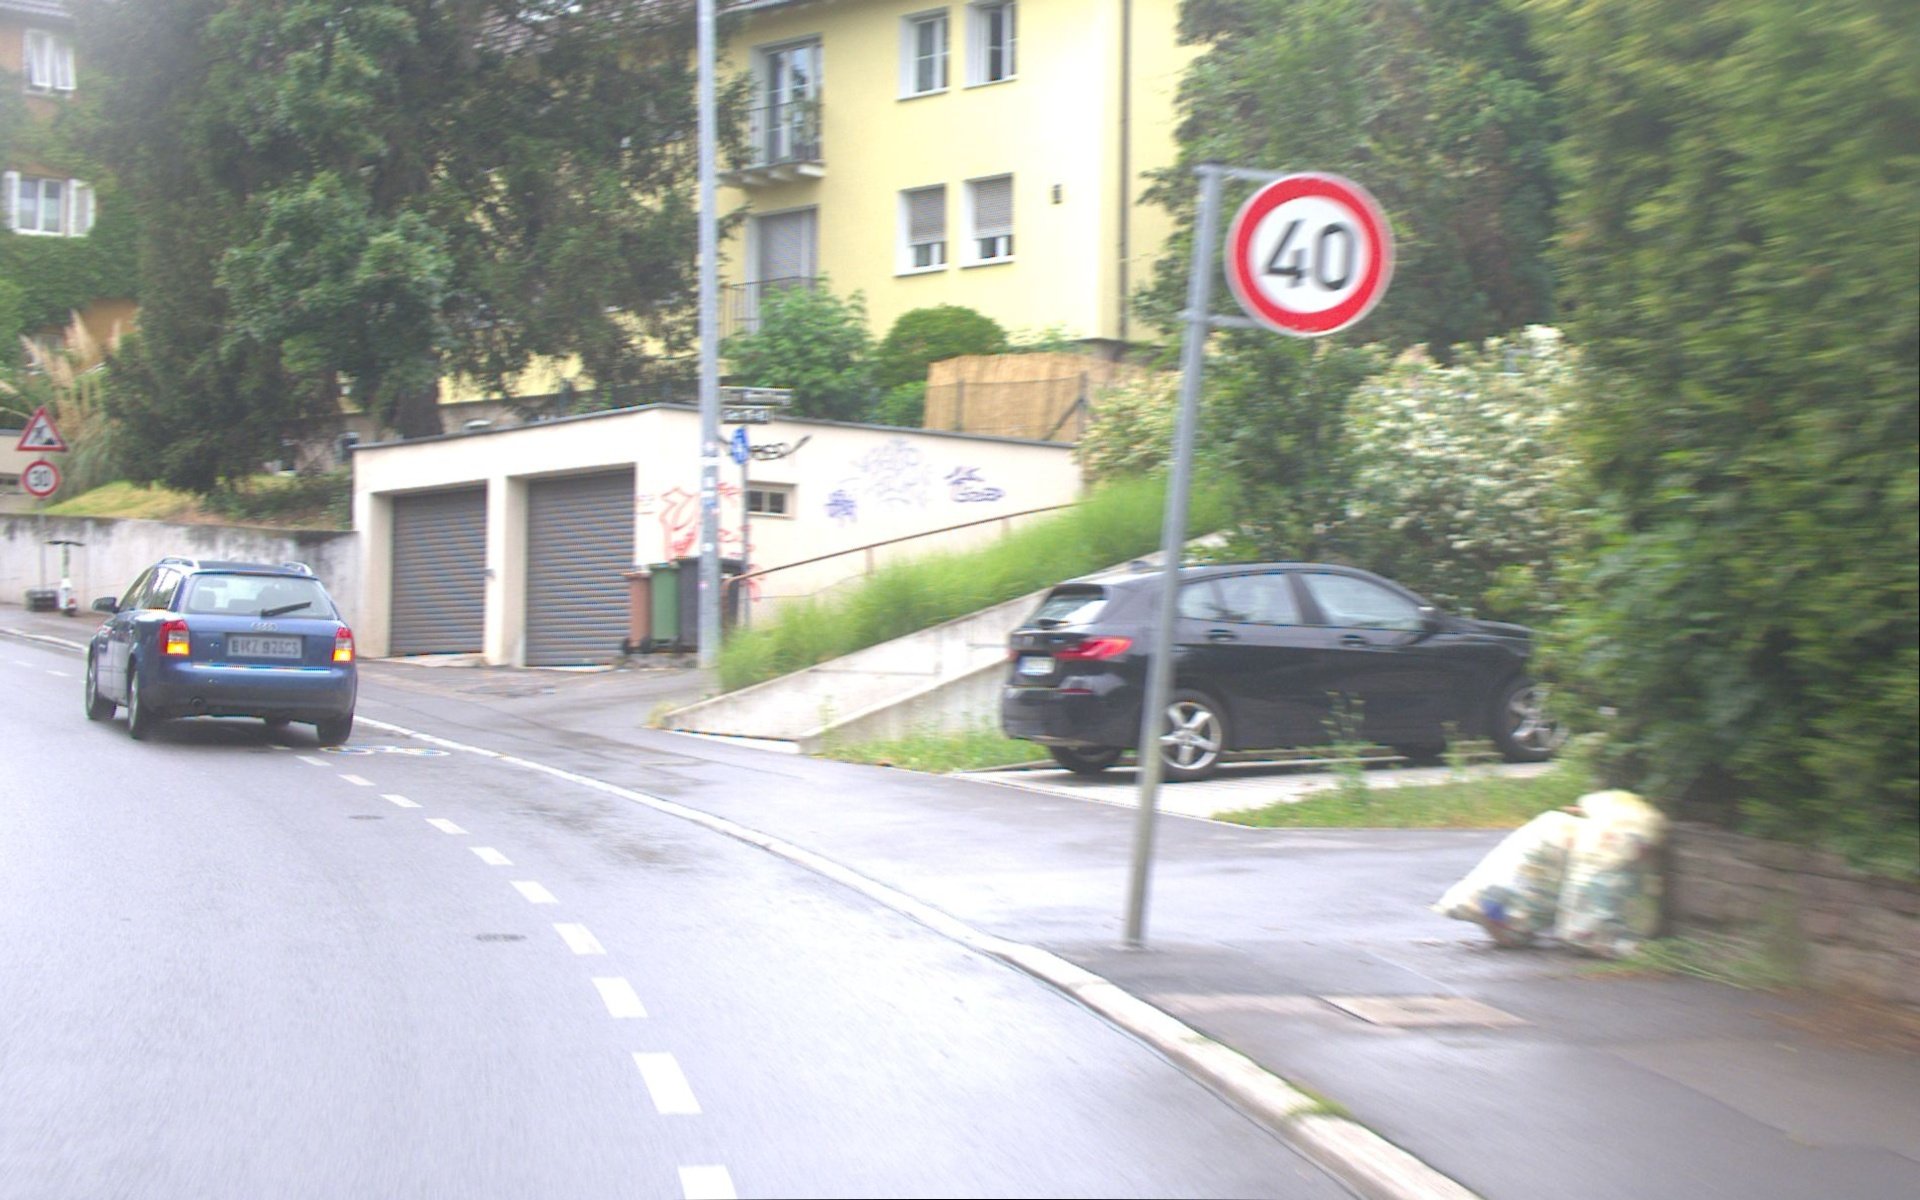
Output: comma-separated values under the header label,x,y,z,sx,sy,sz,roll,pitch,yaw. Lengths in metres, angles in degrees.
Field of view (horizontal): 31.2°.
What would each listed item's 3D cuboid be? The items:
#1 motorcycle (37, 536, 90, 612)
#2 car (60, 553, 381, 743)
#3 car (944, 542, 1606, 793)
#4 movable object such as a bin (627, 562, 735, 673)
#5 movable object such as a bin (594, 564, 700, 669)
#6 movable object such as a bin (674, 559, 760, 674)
label,x,y,z,sx,sy,sz,roll,pitch,yaw
motorcycle,-13.772,-0.409,52.789,0.548,1.128,1.440,1,1,-24
car,-6.205,0.336,28.485,1.853,1.409,4.363,0,1,-22
car,2.161,0.407,23.677,4.168,1.503,1.741,-2,2,-20
movable object such as a bin,-3.036,0.184,37.401,0.859,1.181,0.787,0,1,-40
movable object such as a bin,-3.468,0.173,38.084,0.859,1.138,0.799,0,1,-40
movable object such as a bin,-2.607,0.170,36.873,0.702,1.219,0.581,0,1,-40
